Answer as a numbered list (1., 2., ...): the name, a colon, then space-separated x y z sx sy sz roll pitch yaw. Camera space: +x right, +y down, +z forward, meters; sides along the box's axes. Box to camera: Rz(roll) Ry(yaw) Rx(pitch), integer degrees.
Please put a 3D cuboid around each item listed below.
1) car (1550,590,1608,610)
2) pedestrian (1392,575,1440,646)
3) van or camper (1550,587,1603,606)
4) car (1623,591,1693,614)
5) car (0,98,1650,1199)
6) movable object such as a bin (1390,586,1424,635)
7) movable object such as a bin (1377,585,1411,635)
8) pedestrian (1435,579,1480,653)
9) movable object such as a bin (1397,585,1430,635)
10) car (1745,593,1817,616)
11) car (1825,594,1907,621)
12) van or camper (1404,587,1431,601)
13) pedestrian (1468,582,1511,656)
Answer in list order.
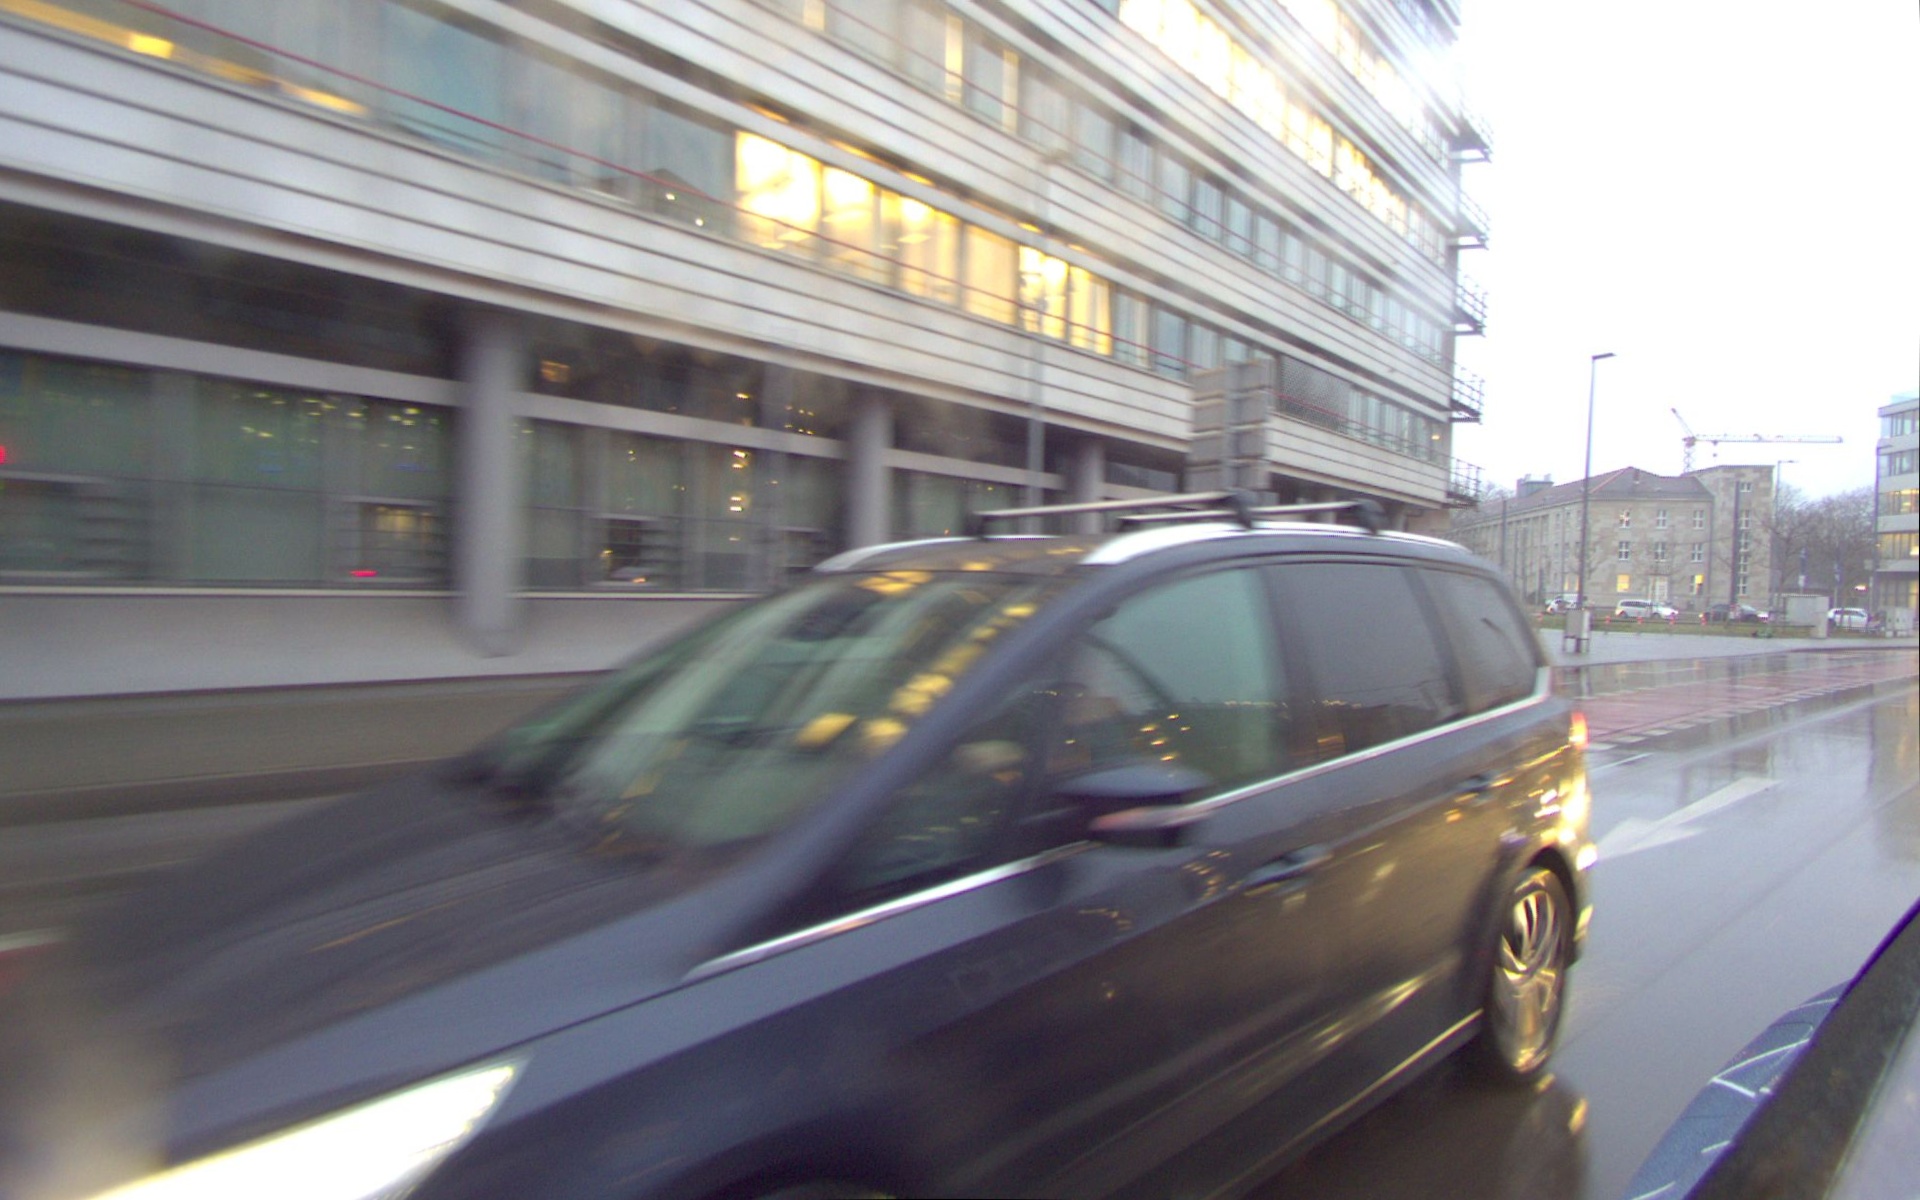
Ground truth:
1. car: 55.096 -0.018 90.120 1.959 1.693 4.012 1 1 -26
2. pedestrian: 11.598 0.260 25.741 0.746 1.722 0.953 6 4 44
3. van or camper: 63.657 -0.357 104.622 1.958 1.874 4.384 1 -2 -21
4. car: 57.721 0.207 83.754 1.959 1.782 4.385 1 1 -26
5. car: 0.243 0.511 2.978 4.589 1.834 1.886 0 0 -41
6. movable object such as a bin: 13.592 0.301 30.786 0.665 1.446 0.827 2 1 45
7. movable object such as a bin: 12.949 0.281 30.183 0.665 1.446 0.827 2 1 45
8. pedestrian: 12.045 0.365 24.487 0.650 1.723 0.870 4 3 44
9. movable object such as a bin: 14.146 0.303 31.536 0.665 1.495 0.827 2 1 45
10. car: 61.171 0.348 75.496 1.743 1.556 3.774 1 1 -25
11. car: 63.588 0.535 71.070 1.744 1.730 3.932 1 1 -28
12. van or camper: 60.946 -0.852 134.875 1.774 1.720 3.839 1 1 -2
13. pedestrian: 12.571 0.436 24.024 0.615 1.689 0.870 4 3 44
